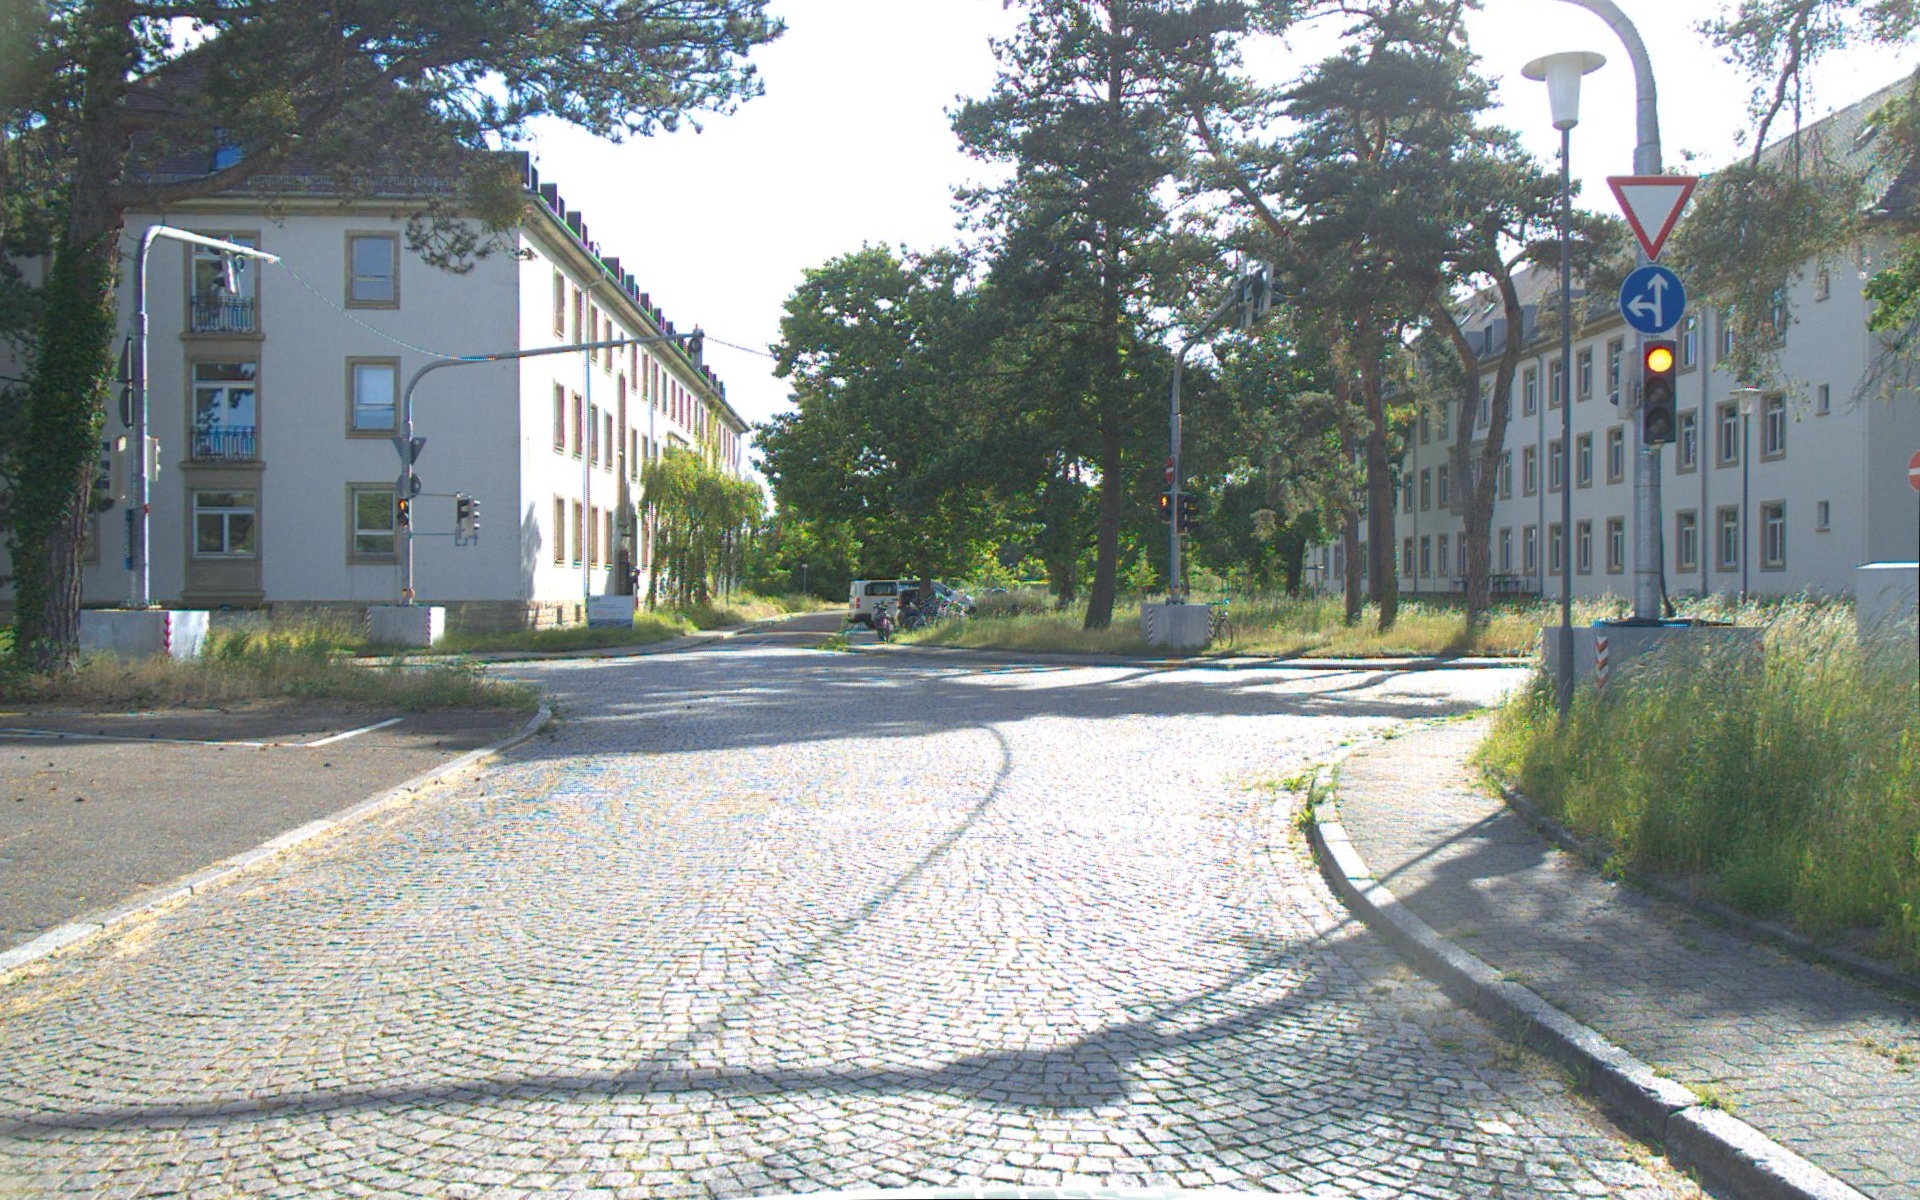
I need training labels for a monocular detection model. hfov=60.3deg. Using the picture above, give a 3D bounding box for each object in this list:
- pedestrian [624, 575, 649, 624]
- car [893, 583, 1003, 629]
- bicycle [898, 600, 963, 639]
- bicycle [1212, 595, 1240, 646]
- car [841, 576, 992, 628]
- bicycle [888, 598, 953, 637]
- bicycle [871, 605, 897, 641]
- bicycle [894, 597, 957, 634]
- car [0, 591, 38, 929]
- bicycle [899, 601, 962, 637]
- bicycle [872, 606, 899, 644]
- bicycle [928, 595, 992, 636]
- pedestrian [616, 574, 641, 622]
[{"bbox_3d":[-12.313,-0.012,62.985,0.794,1.849,0.555,0,0,8],"label":"pedestrian"},{"bbox_3d":[-0.453,0.209,62.404,3.915,1.713,1.843,0,0,-10],"label":"car"},{"bbox_3d":[-0.881,0.585,49.403,1.903,1.149,0.749,0,0,-6],"label":"bicycle"},{"bbox_3d":[5.918,0.448,36.768,0.456,1.099,1.174,0,0,1],"label":"bicycle"},{"bbox_3d":[-1.792,0.067,66.595,5.821,2.049,2.470,0,0,-9],"label":"car"},{"bbox_3d":[-1.199,0.532,50.608,1.920,1.149,0.641,0,0,-30],"label":"bicycle"},{"bbox_3d":[-2.165,0.652,47.001,0.682,0.988,1.859,0,0,-4],"label":"bicycle"},{"bbox_3d":[-1.084,0.482,51.703,1.904,1.149,0.646,0,0,-8],"label":"bicycle"},{"bbox_3d":[-6.404,0.630,6.512,4.452,1.493,1.751,2,0,-5],"label":"car"},{"bbox_3d":[-0.865,0.546,48.605,1.818,1.049,0.749,0,0,-6],"label":"bicycle"},{"bbox_3d":[-2.028,0.666,45.068,0.682,0.988,1.859,0,0,-4],"label":"bicycle"},{"bbox_3d":[0.000,0.467,50.145,1.903,1.257,0.485,0,0,-6],"label":"bicycle"},{"bbox_3d":[-12.783,-0.090,63.837,0.751,1.849,0.683,0,0,8],"label":"pedestrian"}]
